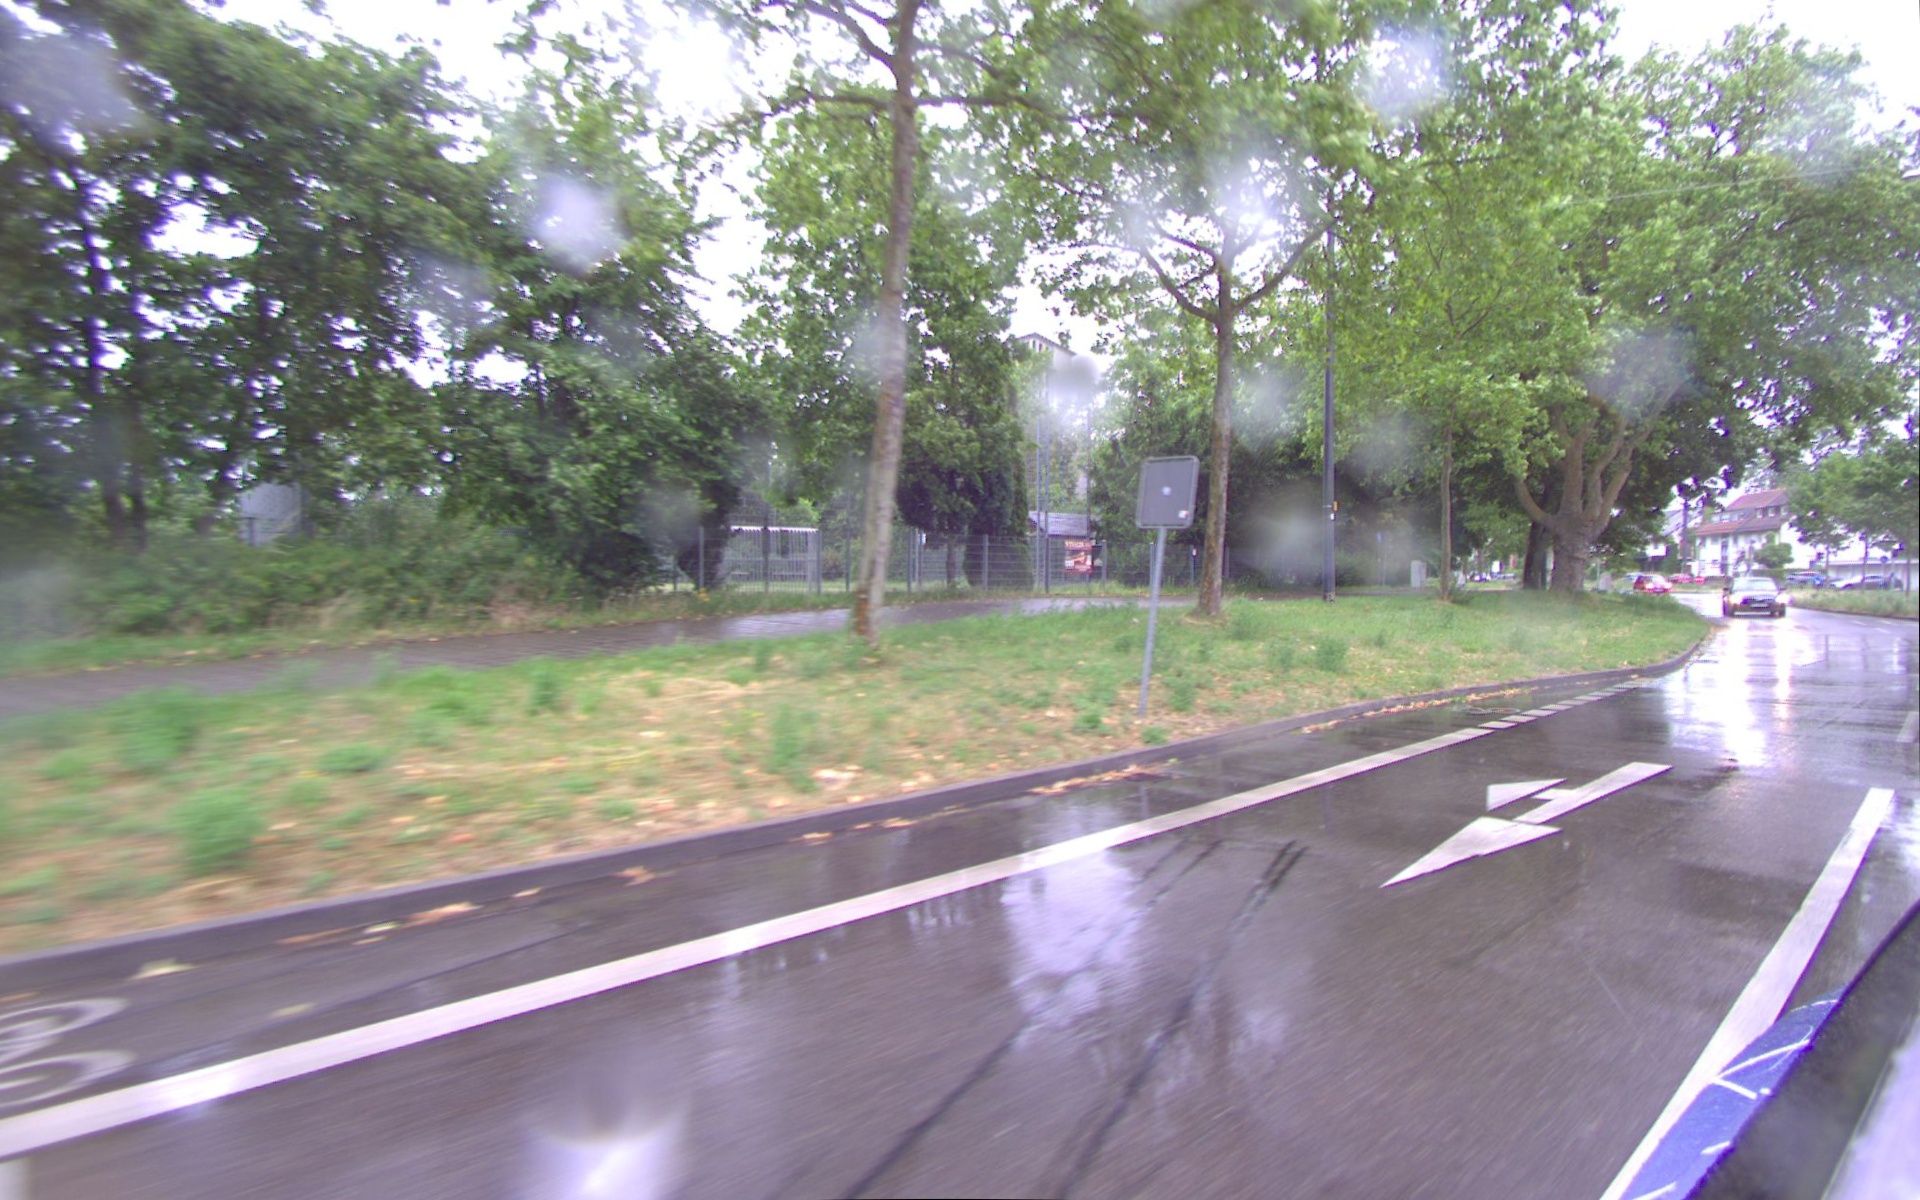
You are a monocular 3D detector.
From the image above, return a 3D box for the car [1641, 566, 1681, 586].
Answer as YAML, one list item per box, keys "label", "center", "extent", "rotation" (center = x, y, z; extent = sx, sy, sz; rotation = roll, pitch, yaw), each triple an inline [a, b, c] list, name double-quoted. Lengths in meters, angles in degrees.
- label: "car"
  center: [49.937, -1.697, 72.167]
  extent: [1.772, 1.398, 3.829]
  rotation: [-1, 1, 27]

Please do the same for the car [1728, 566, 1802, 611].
- label: "car"
  center: [31.209, -0.464, 39.343]
  extent: [1.860, 1.638, 3.765]
  rotation: [0, 1, 33]

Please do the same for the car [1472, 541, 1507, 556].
- label: "car"
  center: [73.005, -7.120, 139.584]
  extent: [3.954, 1.849, 1.985]
  rotation: [-1, 1, 23]

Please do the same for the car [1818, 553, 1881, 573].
- label: "car"
  center: [83.881, -3.477, 95.490]
  extent: [3.939, 1.824, 1.886]
  rotation: [-1, 0, 13]

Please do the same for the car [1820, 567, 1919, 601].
- label: "car"
  center: [40.616, -0.693, 44.601]
  extent: [4.021, 1.438, 1.654]
  rotation: [0, 1, 37]
